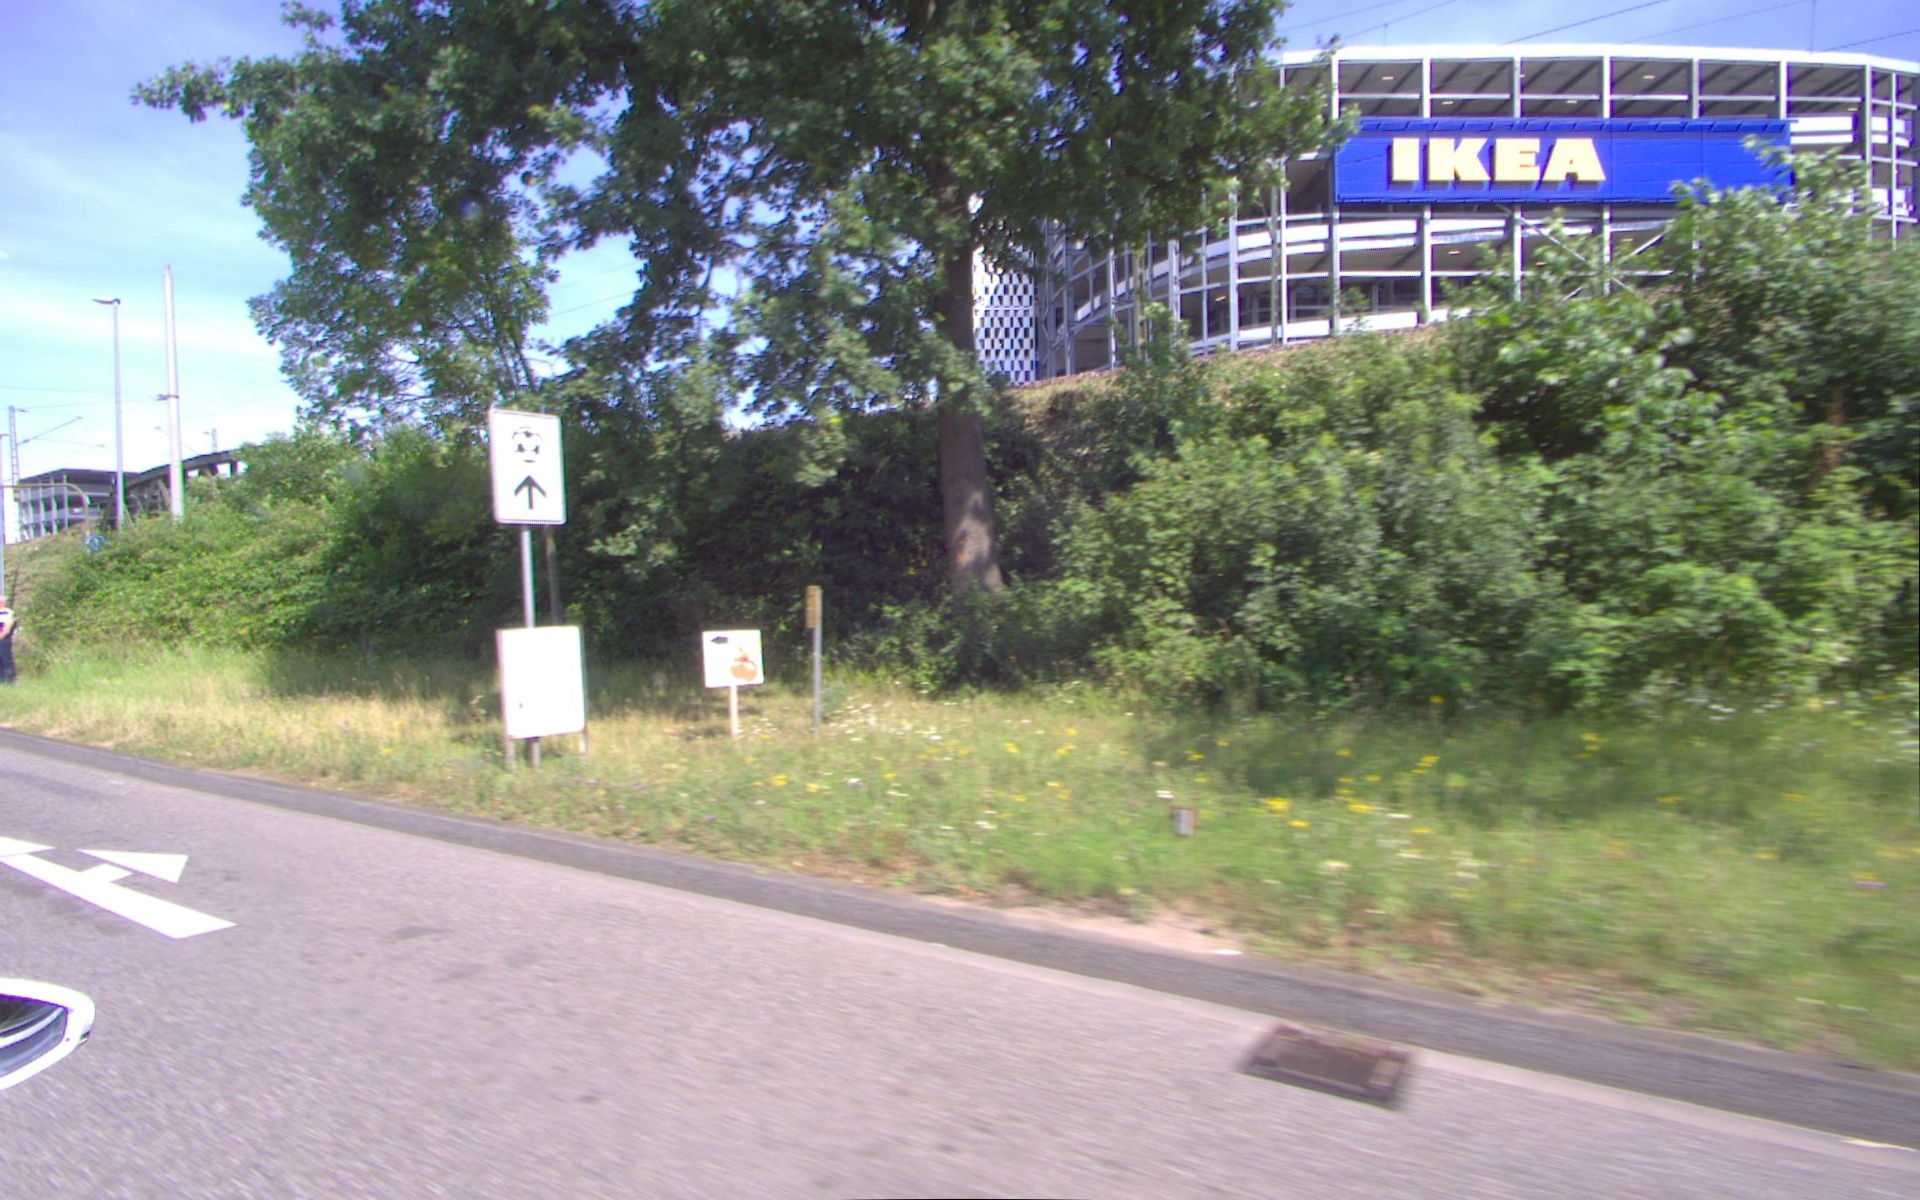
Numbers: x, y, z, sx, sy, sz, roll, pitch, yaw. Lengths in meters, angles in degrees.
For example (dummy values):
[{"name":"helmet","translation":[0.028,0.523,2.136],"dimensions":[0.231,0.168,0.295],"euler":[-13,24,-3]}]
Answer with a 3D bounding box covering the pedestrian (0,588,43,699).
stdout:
[{"name":"pedestrian","translation":[-17.221,0.765,18.046],"dimensions":[0.759,1.959,0.837],"euler":[2,2,29]}]
